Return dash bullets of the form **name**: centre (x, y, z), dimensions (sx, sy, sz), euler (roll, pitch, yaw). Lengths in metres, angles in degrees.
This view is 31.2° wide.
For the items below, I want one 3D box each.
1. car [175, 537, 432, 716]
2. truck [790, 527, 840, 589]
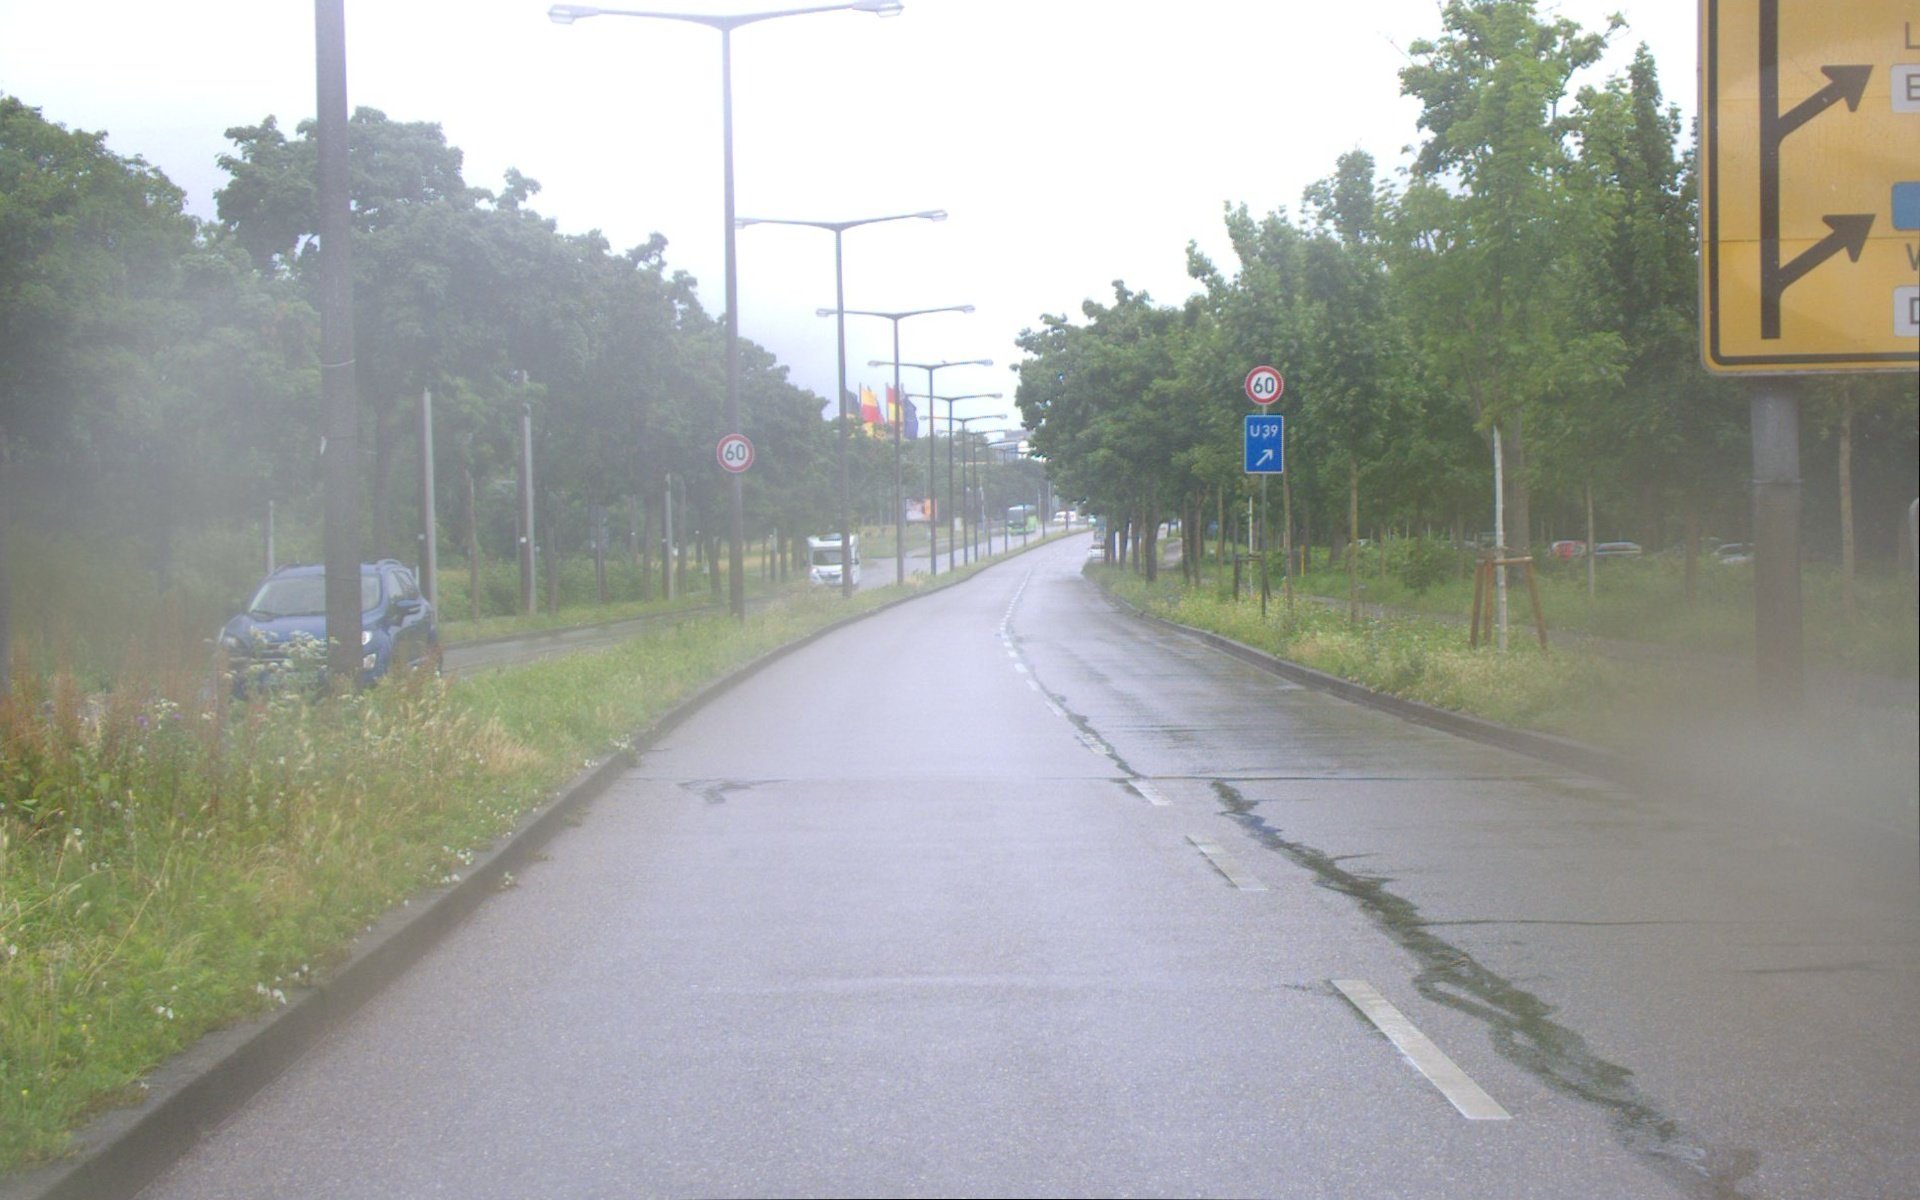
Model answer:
- **car**: centre (-6.692, 0.225, 35.432), dimensions (1.743, 1.644, 4.136), euler (-3, 1, 0)
- **truck**: centre (-7.054, -2.023, 167.902), dimensions (2.138, 2.834, 5.074), euler (-3, 0, 0)
